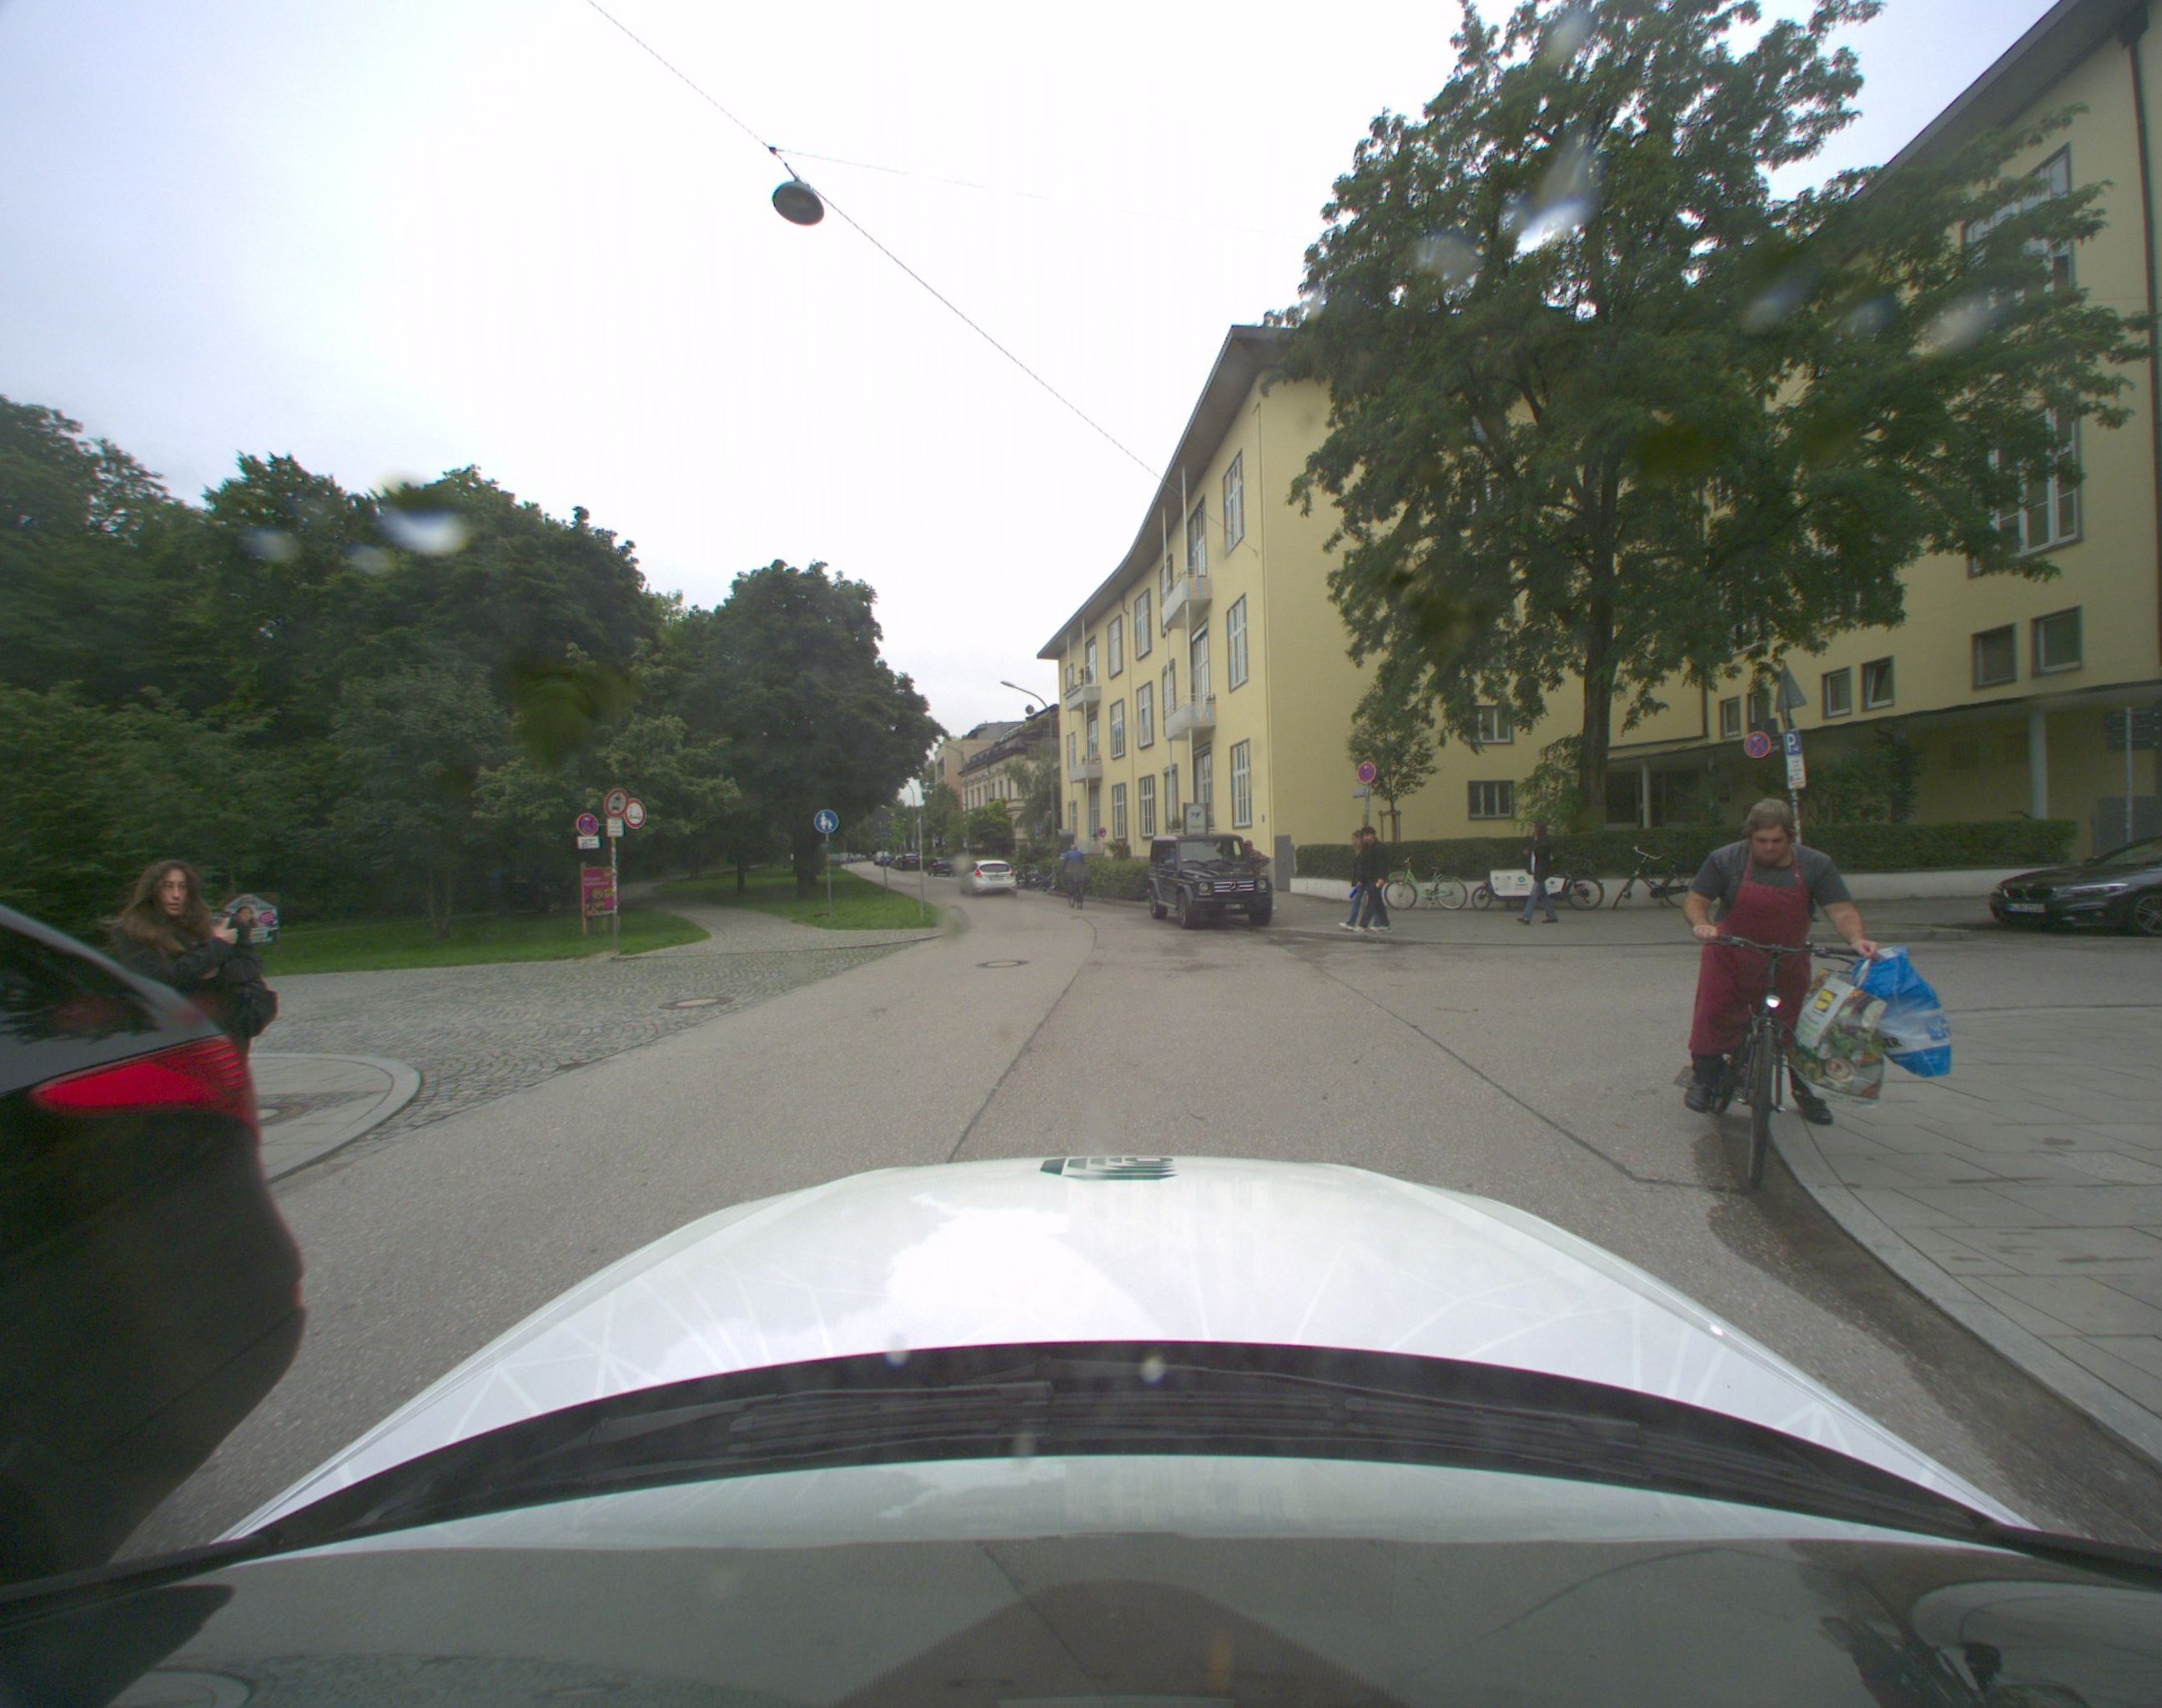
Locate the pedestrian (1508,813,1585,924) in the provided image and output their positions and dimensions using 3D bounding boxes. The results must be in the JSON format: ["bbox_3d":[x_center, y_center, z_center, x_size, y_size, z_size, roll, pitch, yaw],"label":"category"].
[{"bbox_3d":[8.185,0.250,14.359,0.846,1.857,0.768,-3,-1,5],"label":"pedestrian"}]

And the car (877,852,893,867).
[{"bbox_3d":[-28.079,0.779,116.535,2.070,1.966,4.951,-2,0,-15],"label":"car"}]

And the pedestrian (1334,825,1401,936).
[{"bbox_3d":[4.842,0.446,13.826,0.982,1.809,0.663,-2,0,17],"label":"pedestrian"}]

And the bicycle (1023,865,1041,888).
[{"bbox_3d":[-2.349,1.049,39.129,0.363,1.014,1.544,-3,0,14],"label":"bicycle"}]

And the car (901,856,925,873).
[{"bbox_3d":[-16.984,1.051,82.403,1.799,1.680,3.974,-2,0,-19],"label":"car"}]

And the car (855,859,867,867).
[{"bbox_3d":[-46.082,1.852,170.408,1.801,1.658,4.237,-2,0,-9],"label":"car"}]

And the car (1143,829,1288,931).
[{"bbox_3d":[2.792,0.497,18.057,1.872,1.887,4.606,-2,0,-8],"label":"car"}]

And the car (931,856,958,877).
[{"bbox_3d":[-10.662,0.935,63.430,1.650,1.558,3.539,-2,0,-16],"label":"car"}]

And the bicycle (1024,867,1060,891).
[{"bbox_3d":[-1.776,1.134,37.271,1.538,1.014,0.365,-3,0,-20],"label":"bicycle"}]

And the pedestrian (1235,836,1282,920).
[{"bbox_3d":[3.872,0.503,17.815,0.843,1.757,0.956,-3,0,7],"label":"pedestrian"}]

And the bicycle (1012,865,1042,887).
[{"bbox_3d":[-2.665,1.080,40.236,1.545,1.014,0.363,-3,0,-39],"label":"bicycle"}]

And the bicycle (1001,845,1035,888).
[{"bbox_3d":[-3.126,0.605,40.603,1.687,2.013,0.451,-3,0,-44],"label":"bicycle"}]

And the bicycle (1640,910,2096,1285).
[{"bbox_3d":[3.337,0.864,3.794,0.868,1.019,2.204,-2,0,26],"label":"bicycle"}]

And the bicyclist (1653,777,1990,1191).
[{"bbox_3d":[3.342,0.507,3.827,0.867,1.609,1.056,-2,0,26],"label":"bicyclist"}]

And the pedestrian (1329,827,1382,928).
[{"bbox_3d":[4.915,0.416,14.549,0.819,1.746,0.744,-2,0,20],"label":"pedestrian"}]

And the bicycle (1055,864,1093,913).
[{"bbox_3d":[-0.224,0.966,23.600,0.919,1.252,2.318,-2,0,-4],"label":"bicycle"}]

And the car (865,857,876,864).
[{"bbox_3d":[-50.131,1.555,193.842,1.994,1.600,4.452,-2,0,-10],"label":"car"}]

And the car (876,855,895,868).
[{"bbox_3d":[-25.866,0.964,107.545,2.000,1.600,4.226,-2,0,-19],"label":"car"}]

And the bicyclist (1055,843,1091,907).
[{"bbox_3d":[-0.244,0.598,23.579,0.912,1.764,1.213,-2,0,-4],"label":"bicyclist"}]

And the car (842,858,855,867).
[{"bbox_3d":[-43.052,1.517,150.831,1.996,1.600,4.446,-2,0,-14],"label":"car"}]

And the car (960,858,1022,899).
[{"bbox_3d":[-3.510,0.896,31.382,1.751,1.406,3.707,-2,0,-16],"label":"car"}]

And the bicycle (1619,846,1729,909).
[{"bbox_3d":[11.281,0.447,15.511,1.674,1.130,0.461,-2,0,4],"label":"bicycle"}]

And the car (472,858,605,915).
[{"bbox_3d":[-21.774,1.251,32.820,1.764,2.013,4.026,-3,0,37],"label":"car"}]

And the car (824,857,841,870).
[{"bbox_3d":[-32.322,1.222,105.832,1.999,1.600,4.439,-2,0,-18],"label":"car"}]

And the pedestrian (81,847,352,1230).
[{"bbox_3d":[-4.231,0.834,4.041,0.541,1.697,0.665,-4,0,-6],"label":"pedestrian"}]

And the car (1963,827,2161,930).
[{"bbox_3d":[15.834,0.300,11.625,4.296,1.367,1.665,-2,-3,7],"label":"car"}]

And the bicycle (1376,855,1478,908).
[{"bbox_3d":[7.449,0.613,17.623,0.532,1.085,1.926,-1,-2,-41],"label":"bicycle"}]

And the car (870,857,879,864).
[{"bbox_3d":[-50.690,1.574,199.677,1.803,1.658,4.233,-2,0,-11],"label":"car"}]

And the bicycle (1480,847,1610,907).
[{"bbox_3d":[9.177,0.466,16.200,2.149,1.115,0.644,-2,0,22],"label":"bicycle"}]

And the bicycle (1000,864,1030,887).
[{"bbox_3d":[-3.318,1.082,41.151,1.547,1.014,0.404,-3,0,-44],"label":"bicycle"}]
